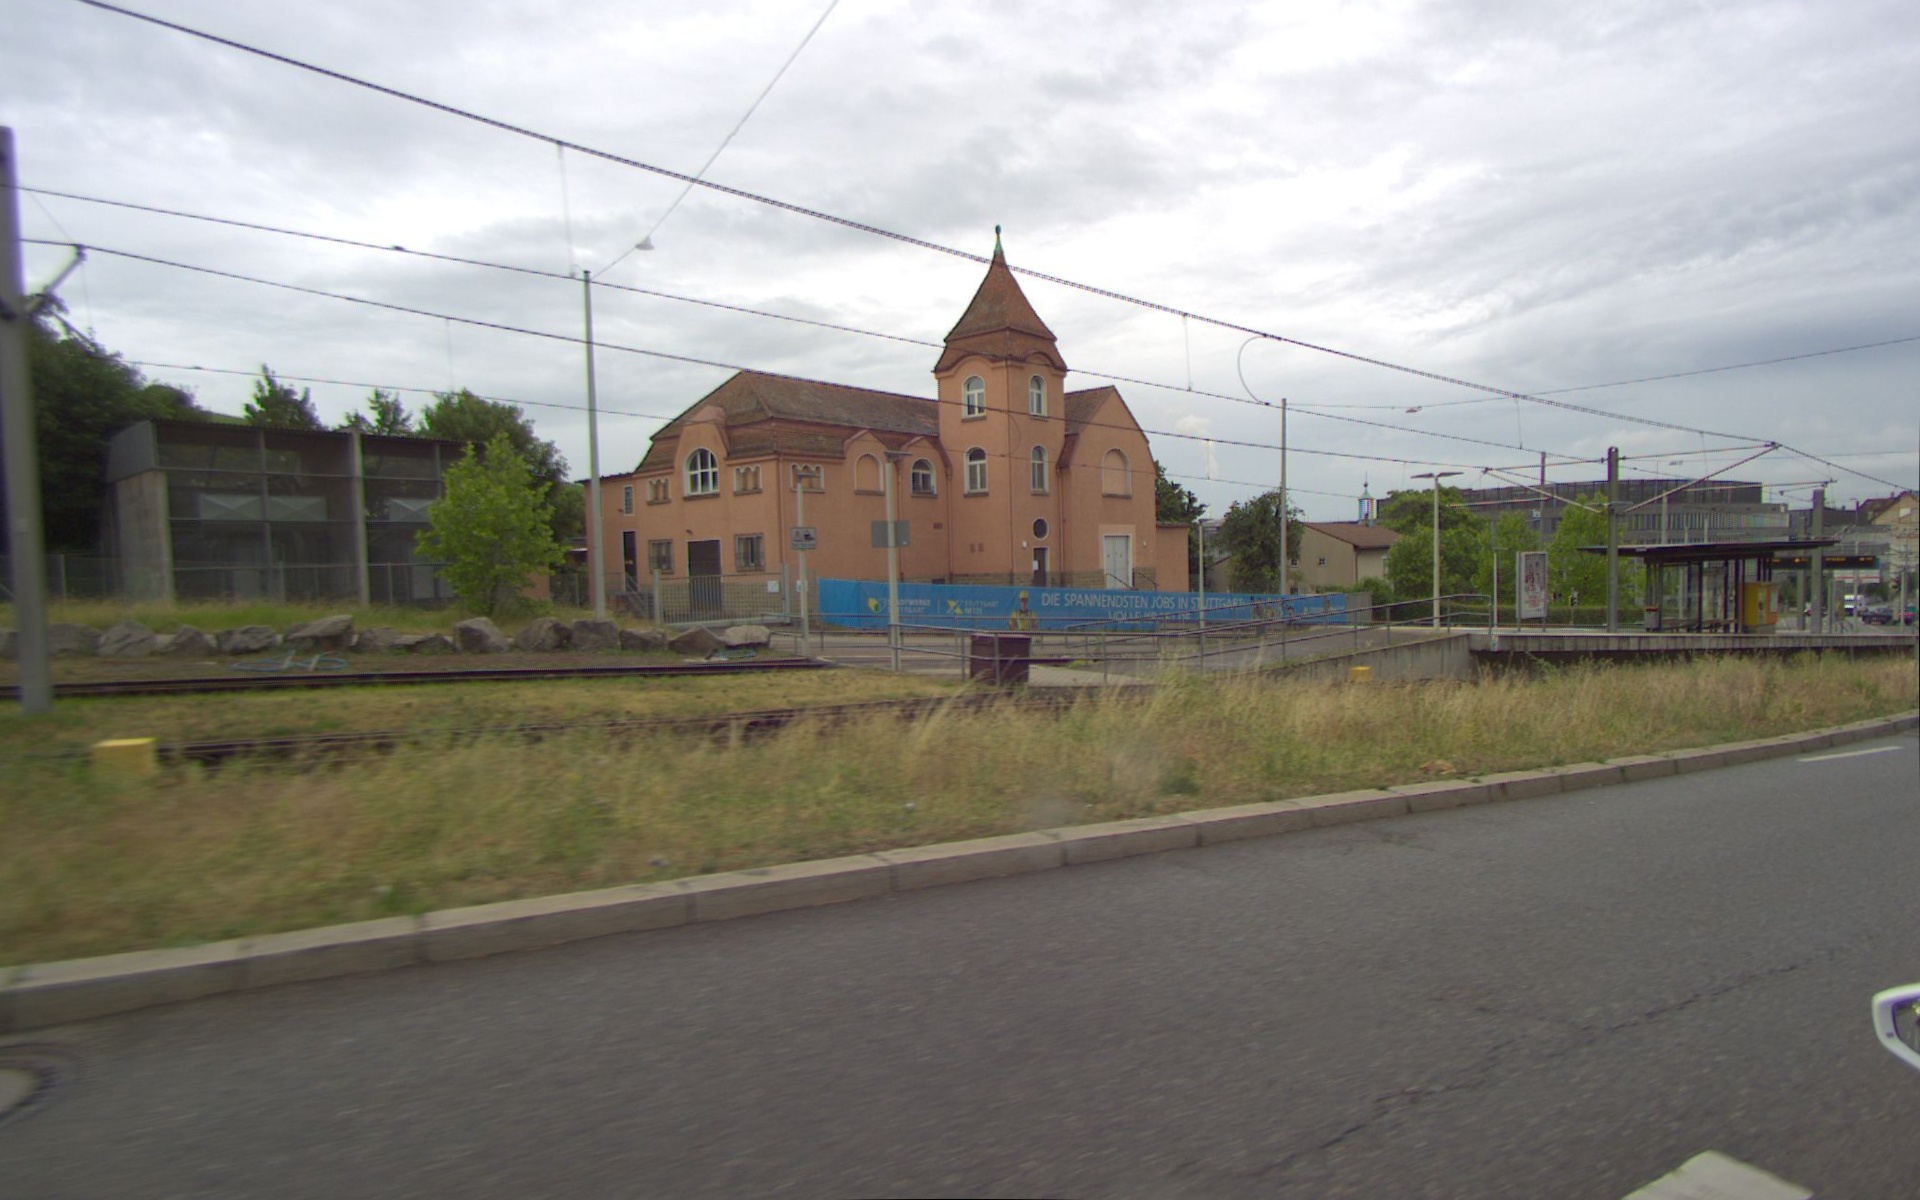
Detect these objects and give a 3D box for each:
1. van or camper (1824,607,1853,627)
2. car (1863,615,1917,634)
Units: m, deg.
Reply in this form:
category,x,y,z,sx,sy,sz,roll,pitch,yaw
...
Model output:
category,x,y,z,sx,sy,sz,roll,pitch,yaw
van or camper,106.301,2.038,121.471,3.966,2.376,1.978,1,-2,-39
car,92.870,2.454,100.352,1.959,1.728,4.002,1,0,8
